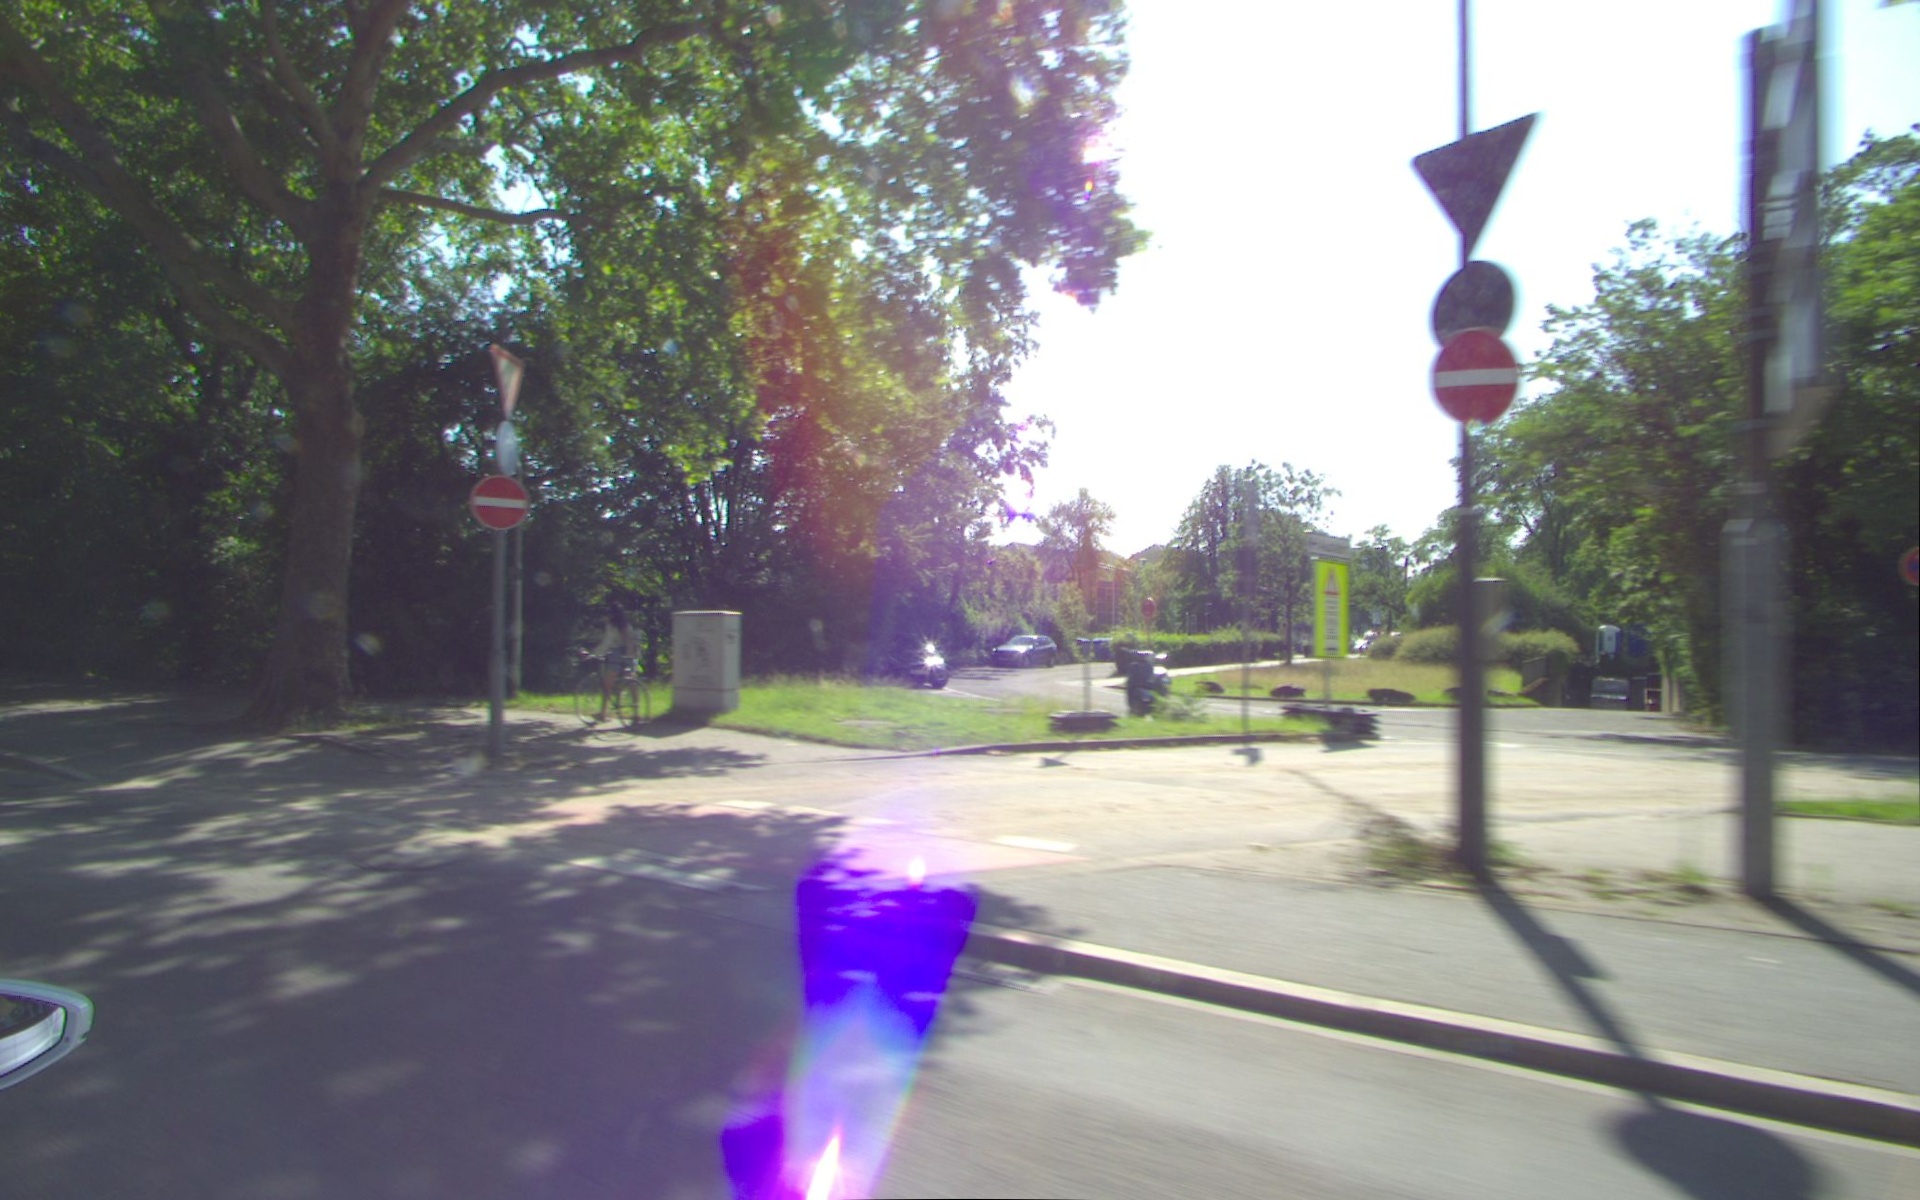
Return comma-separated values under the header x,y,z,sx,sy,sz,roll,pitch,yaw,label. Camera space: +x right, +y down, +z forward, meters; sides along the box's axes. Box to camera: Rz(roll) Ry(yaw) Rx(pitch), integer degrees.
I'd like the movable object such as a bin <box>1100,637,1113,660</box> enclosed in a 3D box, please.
x,y,z,sx,sy,sz,roll,pitch,yaw,label
8.887,2.969,60.779,0.569,1.377,0.458,0,-1,39,movable object such as a bin

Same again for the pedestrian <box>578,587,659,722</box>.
x,y,z,sx,sy,sz,roll,pitch,yaw,label
-4.730,0.746,13.874,0.861,1.808,0.631,0,-2,31,pedestrian

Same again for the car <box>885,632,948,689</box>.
x,y,z,sx,sy,sz,roll,pitch,yaw,label
-1.239,1.671,28.508,1.651,1.472,4.002,1,-2,-2,car

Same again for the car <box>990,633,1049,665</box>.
x,y,z,sx,sy,sz,roll,pitch,yaw,label
2.936,2.352,48.525,1.655,1.472,3.992,0,-2,22,car

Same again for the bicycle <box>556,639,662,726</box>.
x,y,z,sx,sy,sz,roll,pitch,yaw,label
-4.755,1.085,13.514,1.674,1.095,0.349,0,-2,32,bicycle

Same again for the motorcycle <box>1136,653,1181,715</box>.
x,y,z,sx,sy,sz,roll,pitch,yaw,label
3.322,1.383,16.707,0.463,0.980,1.220,1,-2,25,motorcycle

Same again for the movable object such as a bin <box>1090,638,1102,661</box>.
x,y,z,sx,sy,sz,roll,pitch,yaw,label
8.318,3.000,61.166,0.569,1.388,0.458,0,-1,39,movable object such as a bin

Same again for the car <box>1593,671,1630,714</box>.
x,y,z,sx,sy,sz,roll,pitch,yaw,label
38.970,5.501,59.950,1.745,2.343,4.500,0,-2,32,car
